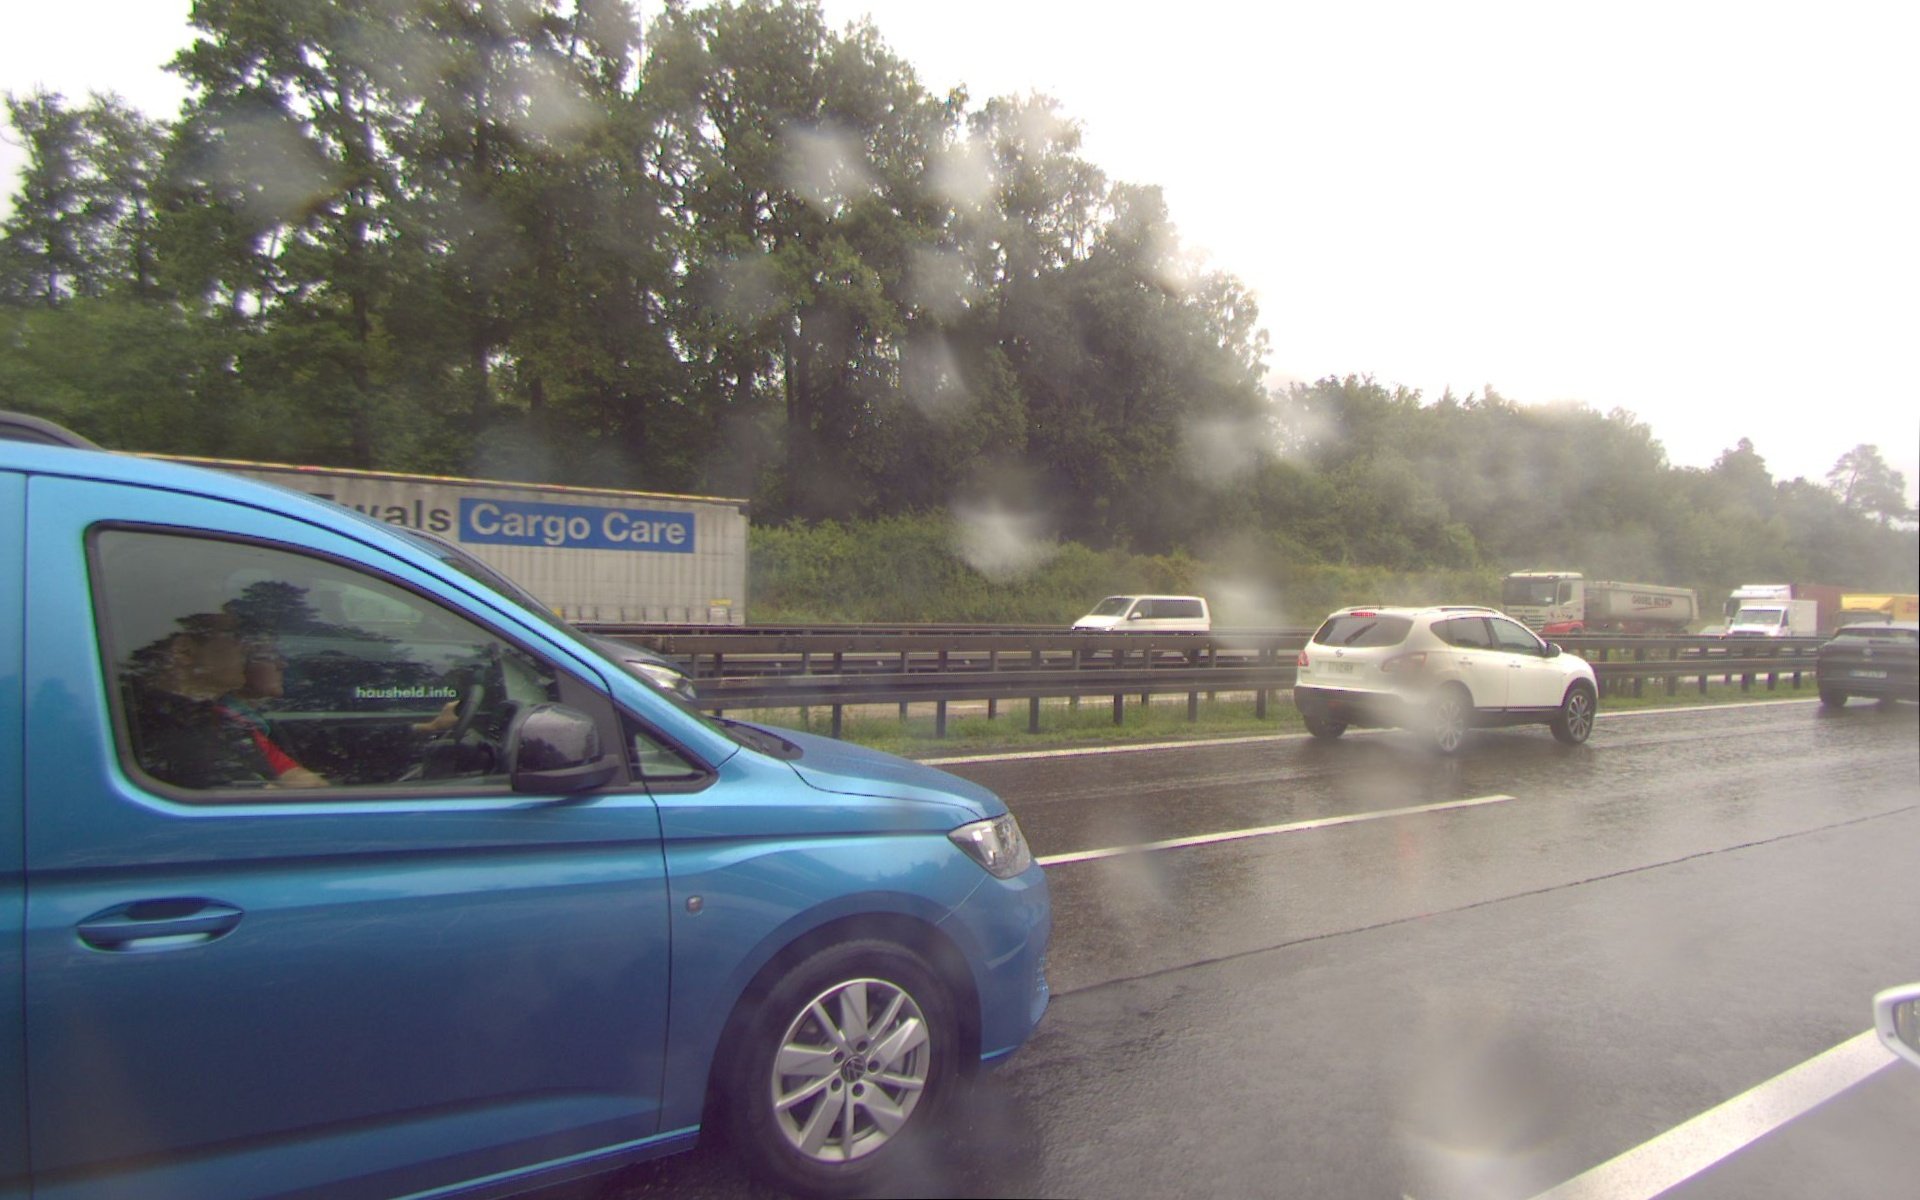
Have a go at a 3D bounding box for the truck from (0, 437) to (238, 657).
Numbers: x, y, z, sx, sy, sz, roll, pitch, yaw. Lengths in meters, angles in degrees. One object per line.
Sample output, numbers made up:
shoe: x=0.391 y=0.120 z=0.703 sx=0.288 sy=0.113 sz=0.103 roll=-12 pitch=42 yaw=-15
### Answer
truck: x=-17.473 y=-0.922 z=19.896 sx=4.834 sy=4.006 sz=2.690 roll=1 pitch=-2 yaw=-31

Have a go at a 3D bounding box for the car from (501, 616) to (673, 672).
car: x=-9.685 y=1.122 z=26.144 sx=3.955 sy=1.362 sz=1.792 roll=2 pitch=-1 yaw=-32

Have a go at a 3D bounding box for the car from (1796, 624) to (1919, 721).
car: x=17.925 y=1.286 z=19.033 sx=4.414 sy=1.613 sz=1.836 roll=1 pitch=0 yaw=-31

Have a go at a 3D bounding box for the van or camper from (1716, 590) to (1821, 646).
van or camper: x=39.147 y=0.875 z=48.597 sx=6.052 sy=2.581 sz=2.186 roll=1 pitch=-1 yaw=-32

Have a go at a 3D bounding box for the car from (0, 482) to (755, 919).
car: x=-4.015 y=0.466 z=5.829 sx=5.179 sy=1.970 sz=1.982 roll=2 pitch=0 yaw=-29

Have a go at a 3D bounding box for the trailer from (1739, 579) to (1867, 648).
trailer: x=53.839 y=0.943 z=63.985 sx=12.237 sy=4.079 sz=2.604 roll=2 pitch=0 yaw=-32

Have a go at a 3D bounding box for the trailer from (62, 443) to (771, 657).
trailer: x=-11.473 y=-0.757 z=23.489 sx=13.798 sy=4.006 sz=2.707 roll=2 pitch=-2 yaw=-31

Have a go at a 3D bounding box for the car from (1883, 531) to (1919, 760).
car: x=13.474 y=0.560 z=12.027 sx=4.957 sy=2.607 sz=2.202 roll=1 pitch=0 yaw=-30

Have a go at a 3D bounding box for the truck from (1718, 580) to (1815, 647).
truck: x=48.818 y=0.808 z=60.790 sx=6.194 sy=3.869 sz=2.689 roll=1 pitch=0 yaw=-32

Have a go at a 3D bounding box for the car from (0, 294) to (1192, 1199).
car: x=-2.074 y=0.464 z=2.646 sx=4.951 sy=1.937 sz=2.261 roll=1 pitch=0 yaw=-27

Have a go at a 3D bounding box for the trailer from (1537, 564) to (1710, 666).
trailer: x=28.445 y=0.704 z=42.867 sx=9.313 sy=4.006 sz=2.365 roll=2 pitch=-1 yaw=-31

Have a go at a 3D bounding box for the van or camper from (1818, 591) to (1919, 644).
van or camper: x=54.734 y=1.074 z=59.922 sx=8.686 sy=3.018 sz=2.827 roll=1 pitch=0 yaw=-31

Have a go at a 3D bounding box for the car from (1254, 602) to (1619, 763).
car: x=5.803 y=0.870 z=12.097 sx=4.415 sy=1.613 sz=1.836 roll=1 pitch=0 yaw=-31

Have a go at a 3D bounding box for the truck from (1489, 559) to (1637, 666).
truck: x=24.282 y=0.527 z=40.352 sx=6.462 sy=4.006 sz=2.365 roll=1 pitch=-1 yaw=-31

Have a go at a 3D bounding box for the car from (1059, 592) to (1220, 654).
car: x=5.642 y=0.710 z=31.324 sx=4.987 sy=1.793 sz=1.981 roll=1 pitch=-1 yaw=-34
